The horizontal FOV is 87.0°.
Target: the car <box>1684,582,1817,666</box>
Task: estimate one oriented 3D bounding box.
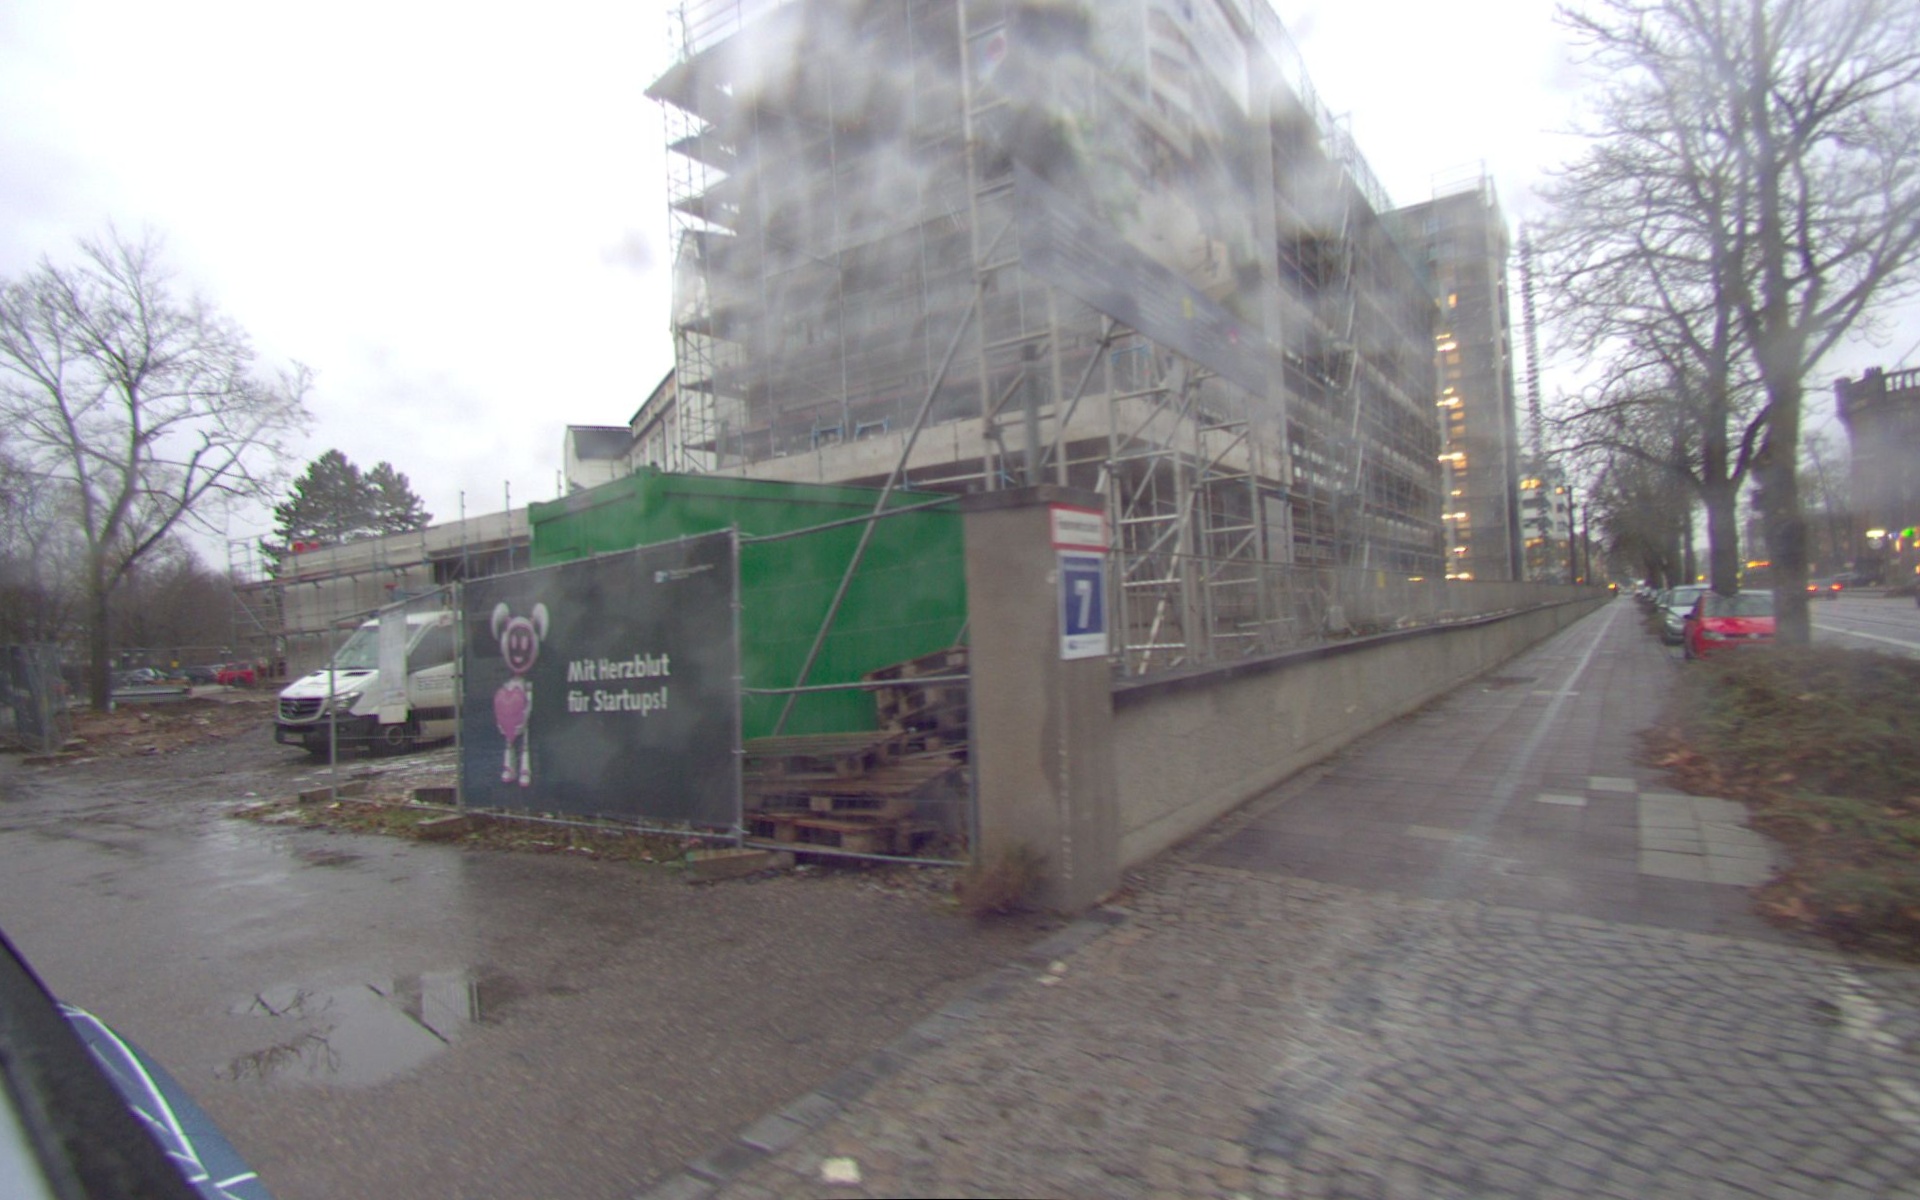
[{"bbox_3d":[14.916,0.444,19.267,1.751,1.398,3.691,-4,-2,35],"label":"car"}]

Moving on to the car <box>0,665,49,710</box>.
[{"bbox_3d":[-45.237,4.126,46.978,3.931,2.007,2.006,-2,-2,-26],"label":"car"}]

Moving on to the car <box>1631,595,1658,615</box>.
[{"bbox_3d":[59.058,0.442,87.266,1.751,1.596,3.691,-4,-2,35],"label":"car"}]

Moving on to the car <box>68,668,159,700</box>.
[{"bbox_3d":[-52.328,5.162,62.686,3.931,1.674,2.006,-2,-2,-26],"label":"car"}]

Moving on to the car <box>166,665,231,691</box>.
[{"bbox_3d":[-62.297,6.371,82.865,3.931,1.810,1.808,-2,-2,-26],"label":"car"}]

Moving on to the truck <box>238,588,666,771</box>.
[{"bbox_3d":[-8.669,1.178,18.372,2.121,2.607,7.018,-3,0,26],"label":"truck"}]

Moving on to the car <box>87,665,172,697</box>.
[{"bbox_3d":[-53.942,5.266,65.819,3.931,1.810,1.808,-2,-2,-26],"label":"car"}]

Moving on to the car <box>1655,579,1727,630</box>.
[{"bbox_3d":[25.580,0.165,35.440,1.864,1.606,3.951,-4,-2,36],"label":"car"}]

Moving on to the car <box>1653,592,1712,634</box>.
[{"bbox_3d":[30.480,0.528,42.714,1.864,1.606,3.951,-4,-2,36],"label":"car"}]

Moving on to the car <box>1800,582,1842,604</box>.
[{"bbox_3d":[60.247,-0.487,70.878,1.762,1.422,3.954,-4,-2,34],"label":"car"}]

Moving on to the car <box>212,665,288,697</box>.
[{"bbox_3d":[-39.093,4.436,55.817,3.253,1.535,1.709,-1,-2,-30],"label":"car"}]

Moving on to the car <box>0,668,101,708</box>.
[{"bbox_3d":[-48.389,4.642,53.730,3.931,1.810,1.808,-2,-2,-26],"label":"car"}]

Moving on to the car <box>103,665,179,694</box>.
[{"bbox_3d":[-58.381,5.662,72.211,3.931,1.810,1.808,-2,-2,-26],"label":"car"}]

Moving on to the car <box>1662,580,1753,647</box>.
[{"bbox_3d":[19.635,0.352,26.679,1.751,1.596,3.691,-4,-2,35],"label":"car"}]
